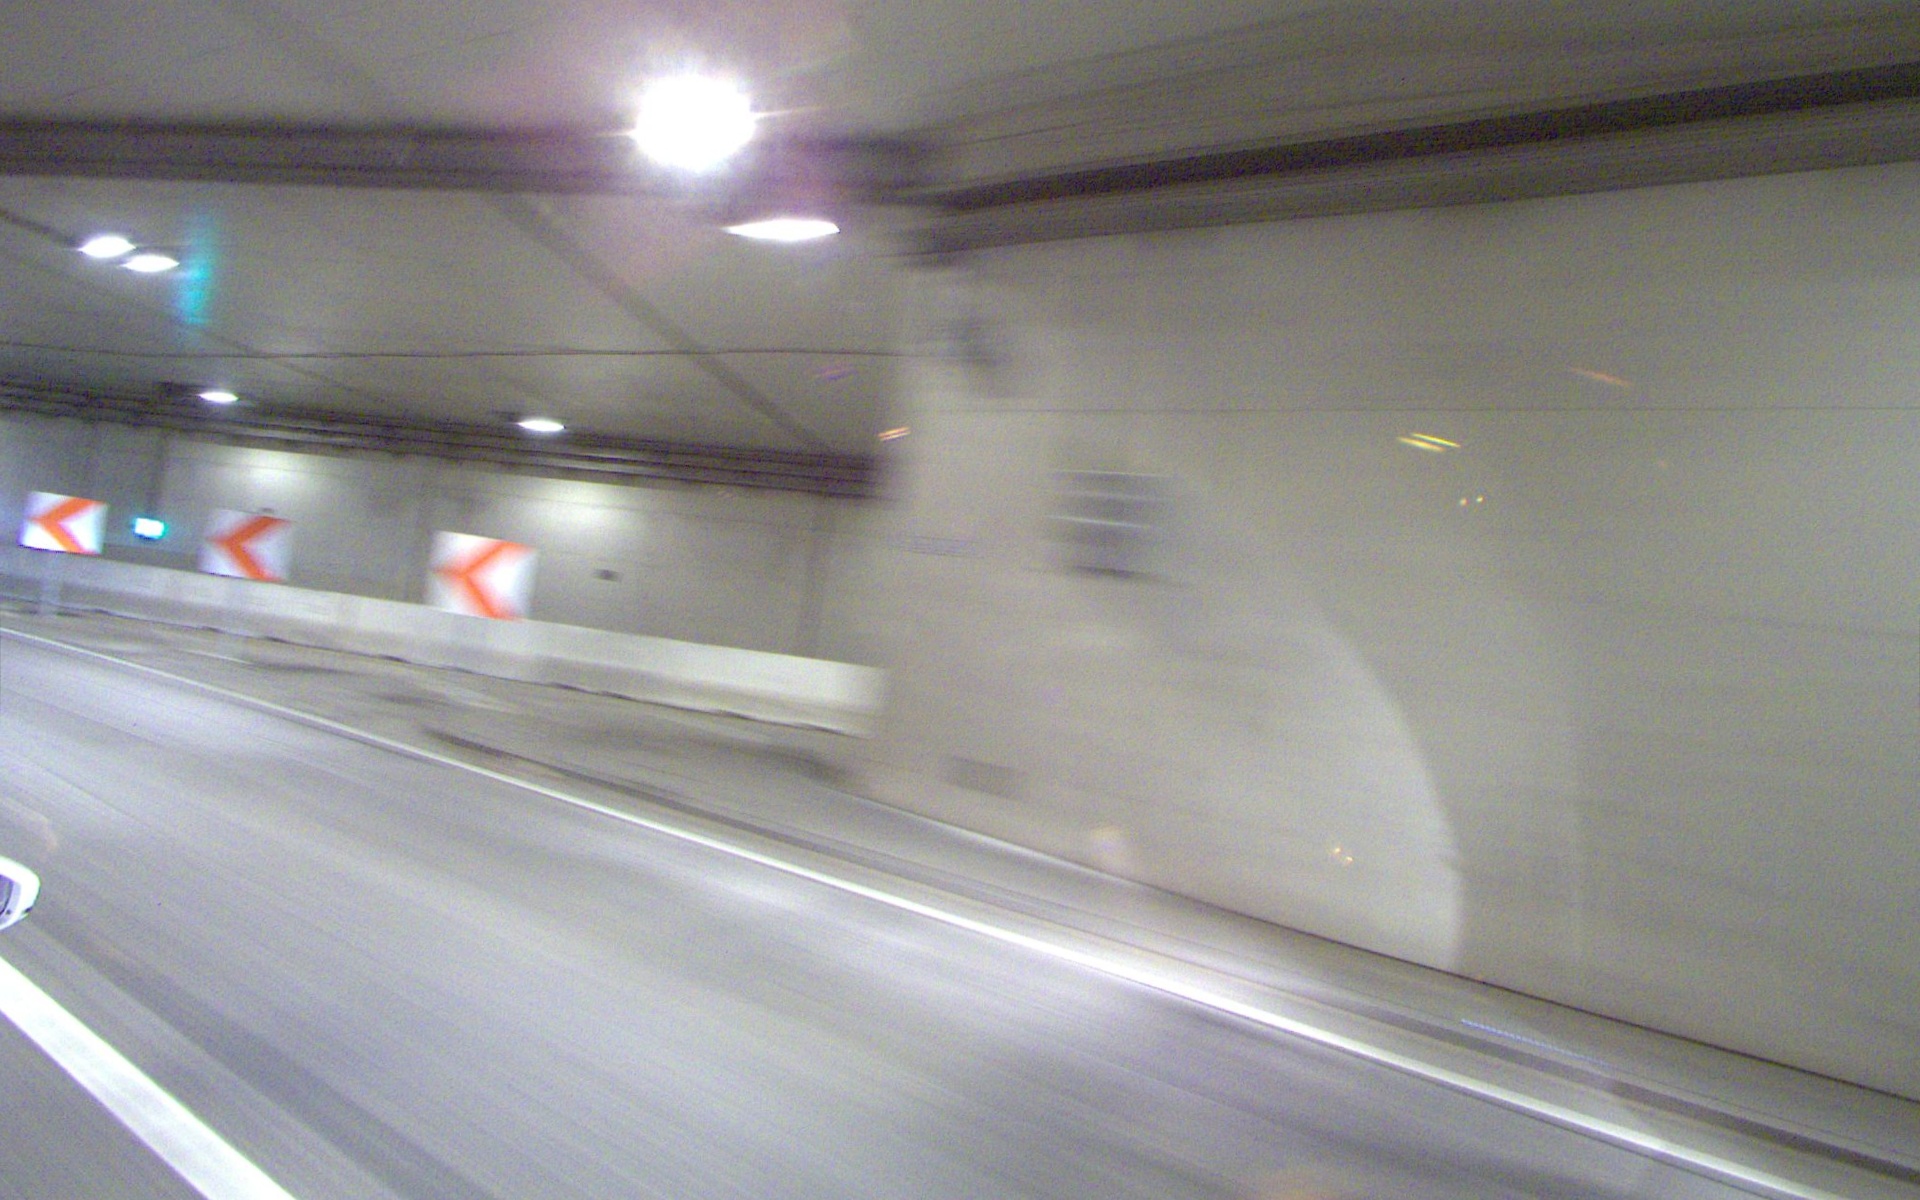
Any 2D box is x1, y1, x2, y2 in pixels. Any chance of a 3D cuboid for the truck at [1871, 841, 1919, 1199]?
[{"bbox_3d":[5.359,0.602,0.125,7.126,3.218,2.558,8,-1,32],"label":"truck"}]
